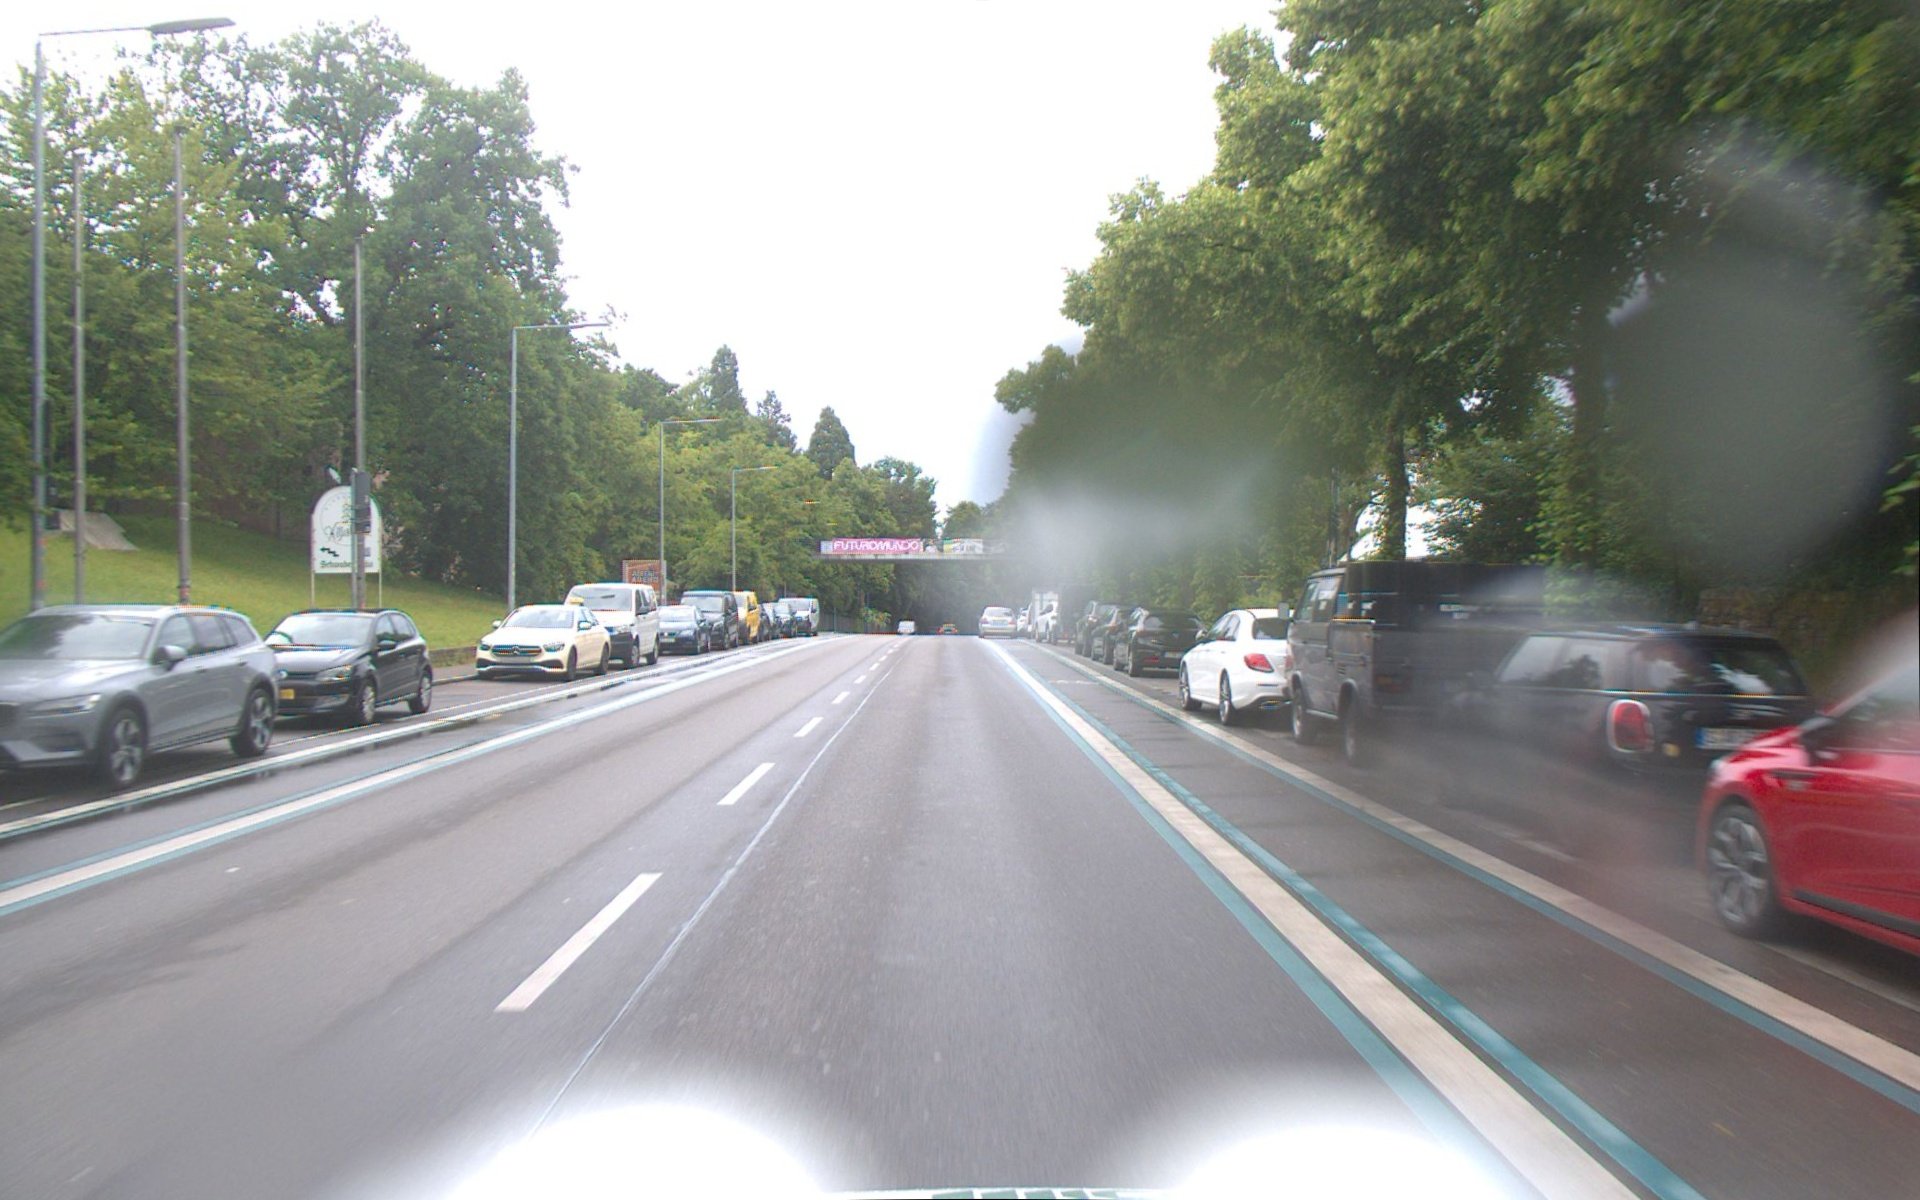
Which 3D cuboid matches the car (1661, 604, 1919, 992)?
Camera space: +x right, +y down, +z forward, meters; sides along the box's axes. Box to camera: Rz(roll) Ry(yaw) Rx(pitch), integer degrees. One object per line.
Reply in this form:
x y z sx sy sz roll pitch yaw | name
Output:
4.564 0.802 6.615 1.652 1.478 4.164 1 0 -1 | car

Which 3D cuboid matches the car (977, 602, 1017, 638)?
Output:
1.726 0.938 77.657 1.696 1.611 4.036 0 0 -1 | car

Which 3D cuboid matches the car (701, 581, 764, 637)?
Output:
-8.525 0.303 62.399 1.845 1.979 4.824 0 1 -2 | car

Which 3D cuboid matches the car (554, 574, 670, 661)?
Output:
-8.370 0.368 40.218 1.874 1.965 4.927 0 1 -1 | car

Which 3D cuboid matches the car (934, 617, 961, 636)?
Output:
-1.104 2.304 145.283 2.098 1.518 4.495 0 0 -4 | car

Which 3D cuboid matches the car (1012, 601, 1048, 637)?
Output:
3.473 0.945 82.507 1.695 1.713 4.045 0 0 1 | car

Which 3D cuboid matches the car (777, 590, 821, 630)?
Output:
-8.382 0.511 86.344 1.721 1.965 4.194 0 1 2 | car

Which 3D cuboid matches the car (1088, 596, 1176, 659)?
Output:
4.399 0.679 42.782 1.696 1.489 4.071 1 1 -2 | car

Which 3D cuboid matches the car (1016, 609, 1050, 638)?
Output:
3.911 1.253 89.247 1.695 1.488 4.045 0 0 1 | car

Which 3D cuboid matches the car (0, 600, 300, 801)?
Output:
-7.881 0.778 15.039 2.035 1.508 4.671 0 0 -2 | car

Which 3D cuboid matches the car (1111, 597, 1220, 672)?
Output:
4.442 0.710 36.334 1.696 1.489 4.275 1 1 -2 | car

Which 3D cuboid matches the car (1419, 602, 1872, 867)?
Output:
4.544 0.792 11.581 1.573 1.478 3.747 1 0 0 | car

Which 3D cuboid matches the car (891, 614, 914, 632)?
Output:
-4.947 2.025 141.839 1.832 1.499 4.051 0 -1 -3 | car

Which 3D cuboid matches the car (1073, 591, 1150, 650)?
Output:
4.373 0.566 48.258 1.696 1.611 4.152 1 0 -2 | car

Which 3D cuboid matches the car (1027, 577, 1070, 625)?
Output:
4.101 0.024 77.231 1.850 2.164 4.045 -1 0 1 | car

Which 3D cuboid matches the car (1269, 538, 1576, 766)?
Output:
4.626 0.451 17.310 1.887 2.057 4.663 0 0 0 | car

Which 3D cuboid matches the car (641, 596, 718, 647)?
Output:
-8.544 0.619 50.676 1.696 1.414 4.369 0 1 -1 | car

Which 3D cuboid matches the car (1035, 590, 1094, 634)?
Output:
4.036 0.444 64.568 1.697 1.611 4.150 0 0 -5 | car

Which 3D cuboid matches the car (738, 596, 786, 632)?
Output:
-8.724 0.577 72.978 1.848 1.476 3.980 0 1 -3 | car

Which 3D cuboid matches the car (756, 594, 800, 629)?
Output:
-8.653 0.538 78.898 1.833 1.569 4.052 0 1 -3 | car

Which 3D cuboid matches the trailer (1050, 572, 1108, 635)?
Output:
4.321 0.123 60.458 1.845 2.204 3.808 0 0 0 | trailer

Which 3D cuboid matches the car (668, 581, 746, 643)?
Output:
-8.537 0.347 56.138 1.950 1.980 5.141 0 1 -1 | car

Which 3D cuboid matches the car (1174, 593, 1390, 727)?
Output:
4.177 0.714 22.277 1.753 1.570 4.887 1 0 -2 | car

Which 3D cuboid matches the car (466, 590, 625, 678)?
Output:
-8.392 0.636 33.990 1.949 1.633 4.985 0 0 1 | car

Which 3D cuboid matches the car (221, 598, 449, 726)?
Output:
-8.099 0.734 21.809 1.662 1.462 4.052 0 1 -3 | car
